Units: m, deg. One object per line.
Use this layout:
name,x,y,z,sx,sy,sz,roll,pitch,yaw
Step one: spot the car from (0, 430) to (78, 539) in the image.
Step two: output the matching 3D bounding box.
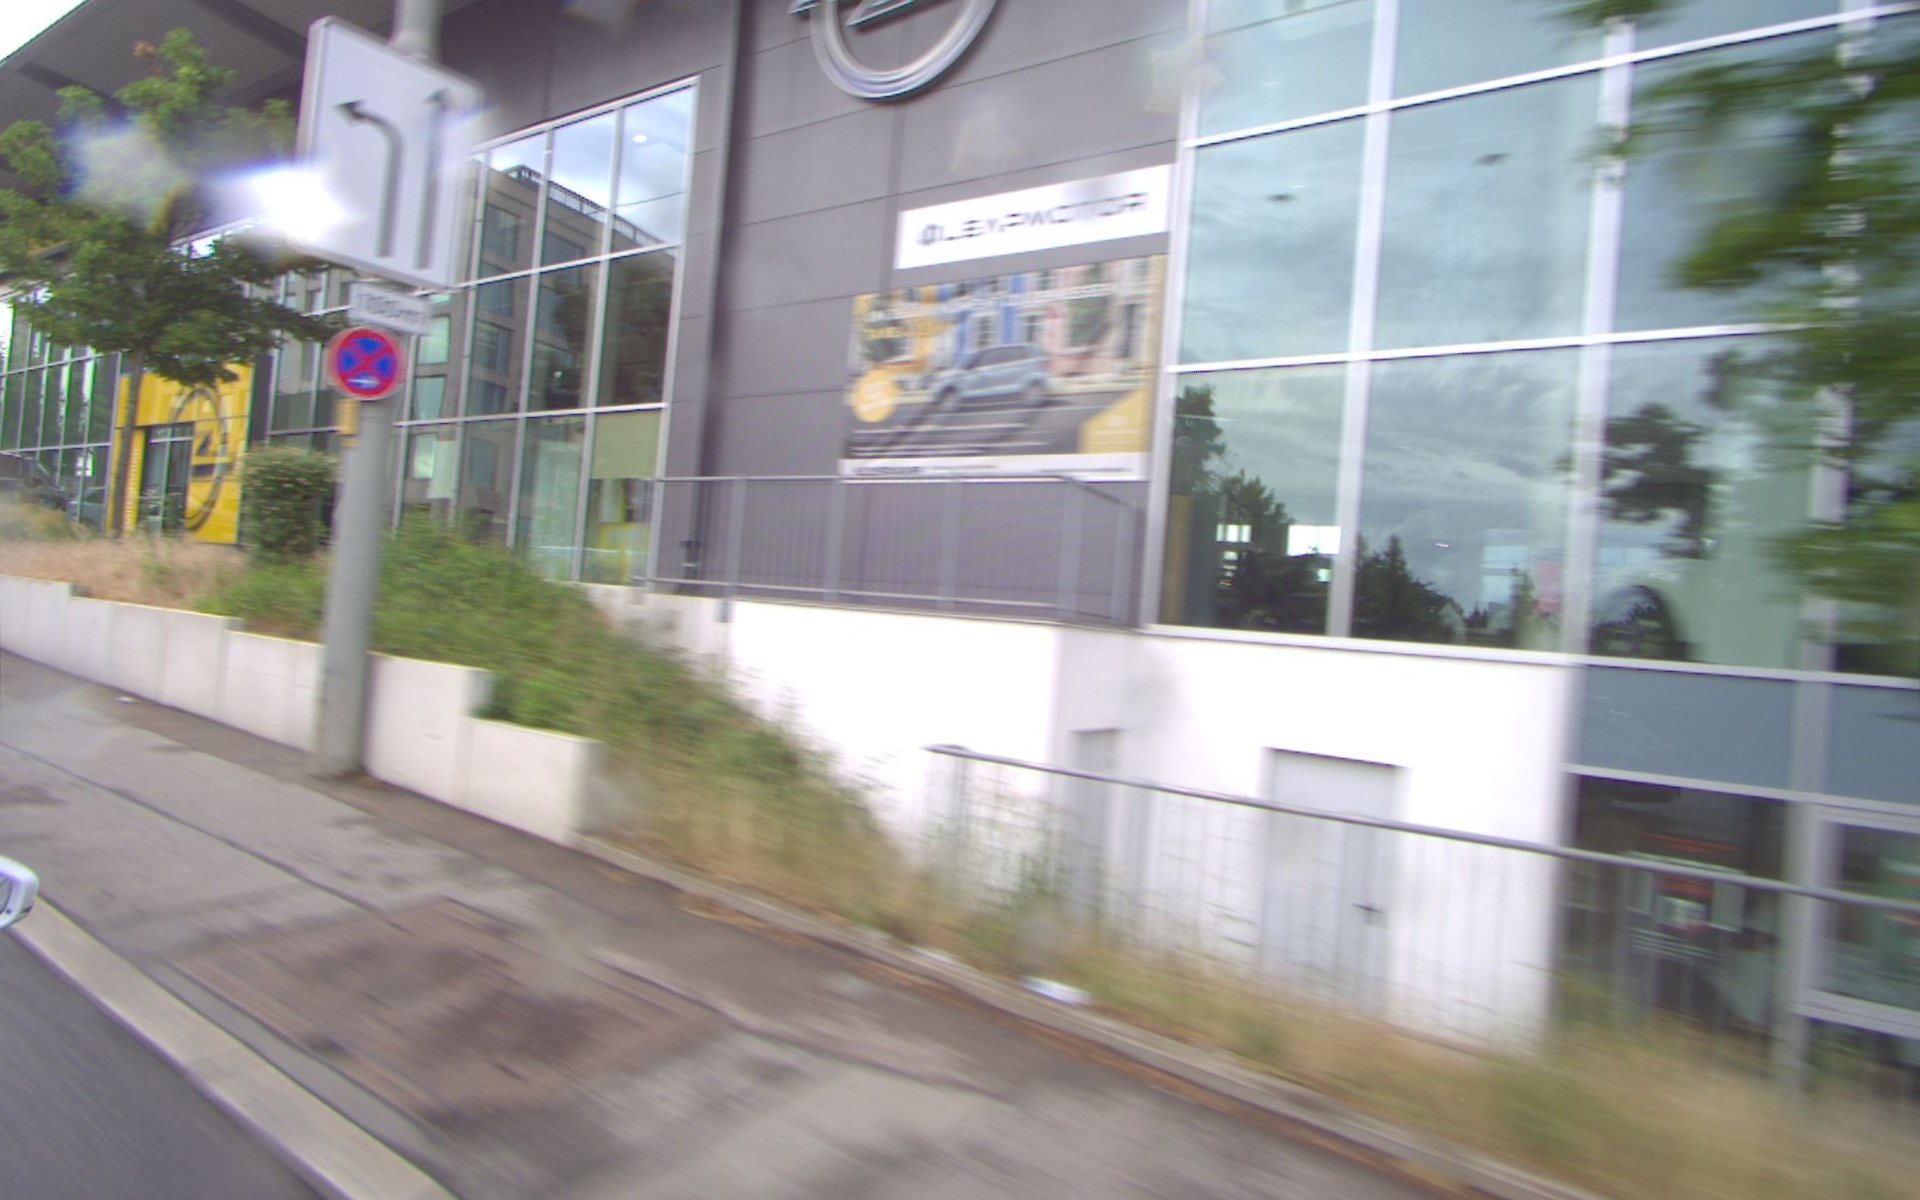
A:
car,-18.352,-2.174,18.779,1.978,1.731,4.394,5,-1,-31

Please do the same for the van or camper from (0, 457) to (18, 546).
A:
van or camper,-32.827,-3.497,30.426,2.313,2.755,5.748,6,-3,32
